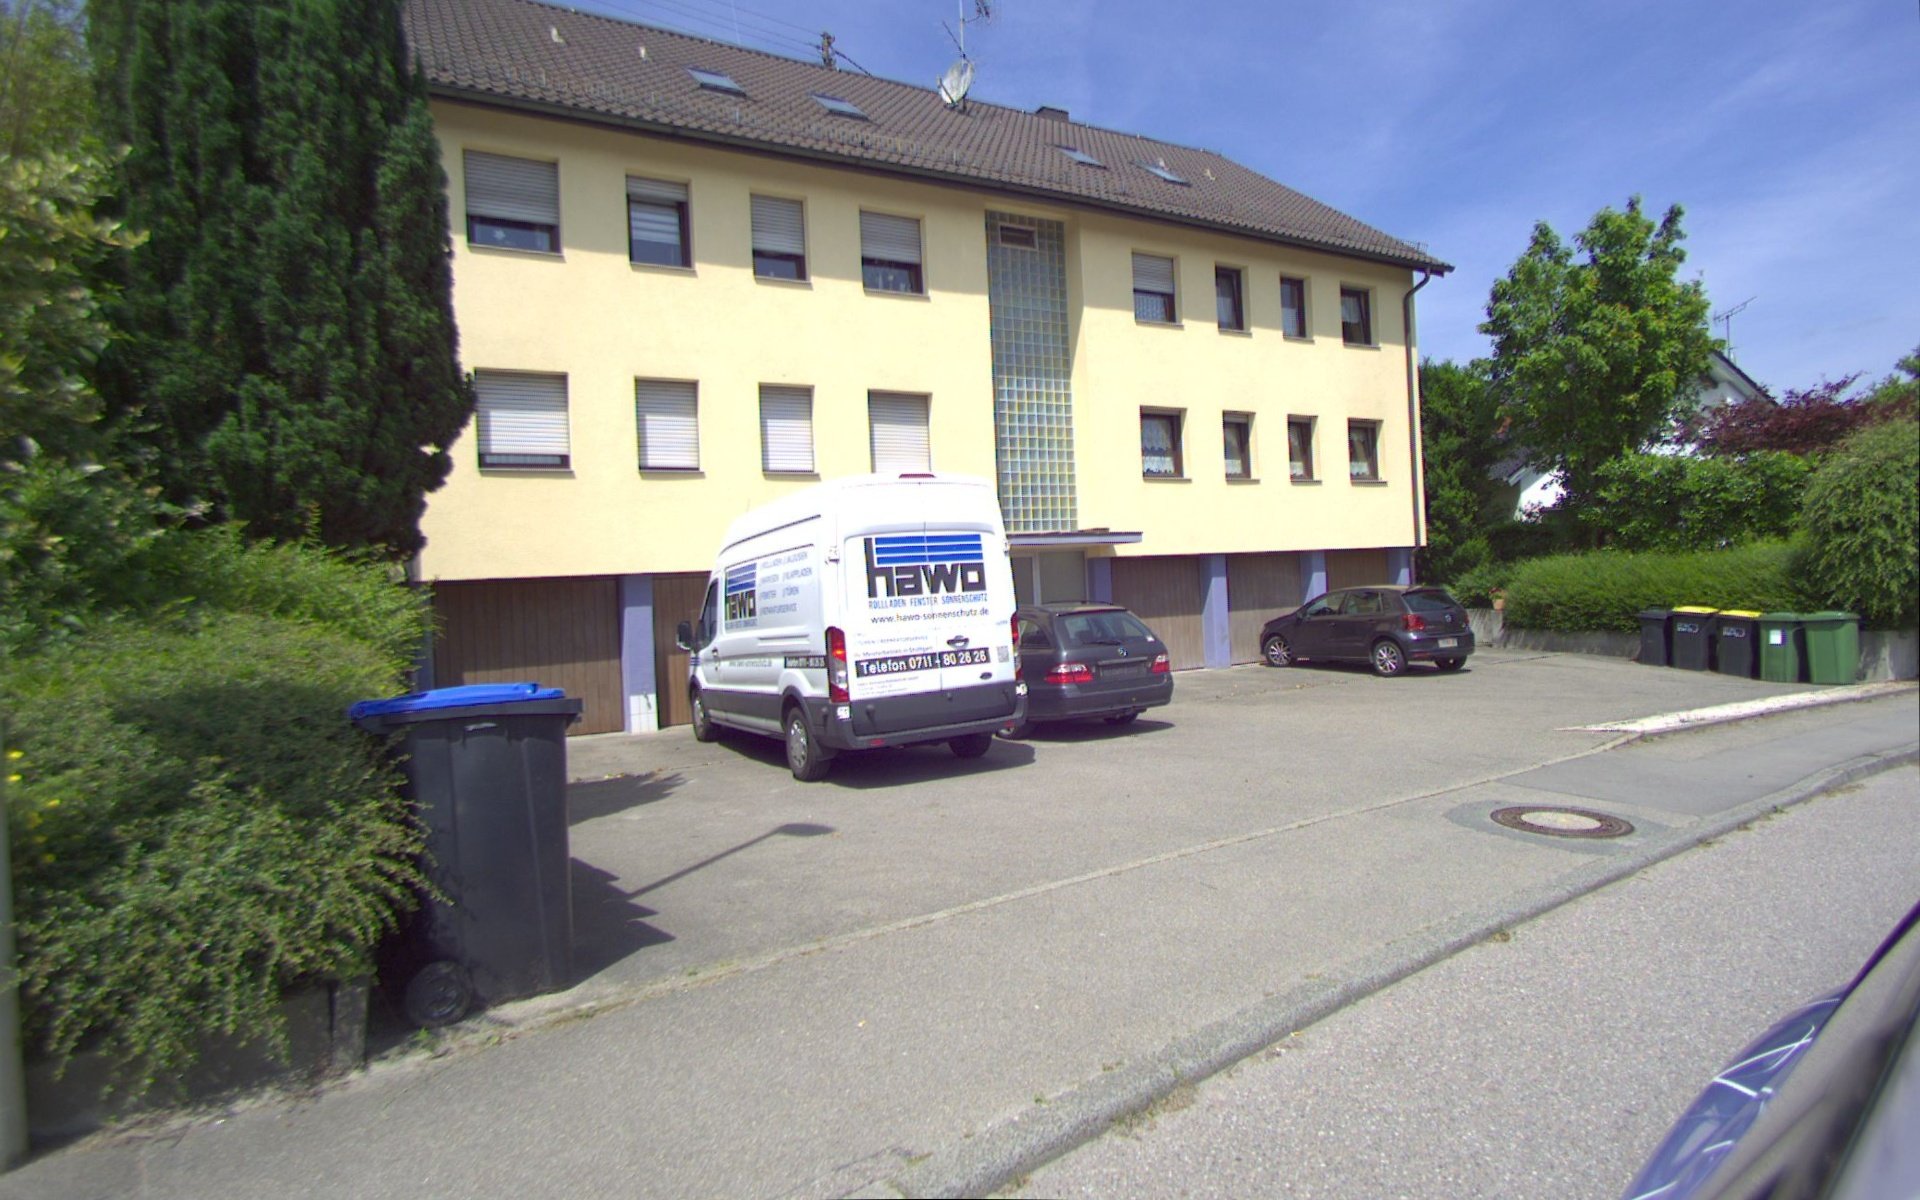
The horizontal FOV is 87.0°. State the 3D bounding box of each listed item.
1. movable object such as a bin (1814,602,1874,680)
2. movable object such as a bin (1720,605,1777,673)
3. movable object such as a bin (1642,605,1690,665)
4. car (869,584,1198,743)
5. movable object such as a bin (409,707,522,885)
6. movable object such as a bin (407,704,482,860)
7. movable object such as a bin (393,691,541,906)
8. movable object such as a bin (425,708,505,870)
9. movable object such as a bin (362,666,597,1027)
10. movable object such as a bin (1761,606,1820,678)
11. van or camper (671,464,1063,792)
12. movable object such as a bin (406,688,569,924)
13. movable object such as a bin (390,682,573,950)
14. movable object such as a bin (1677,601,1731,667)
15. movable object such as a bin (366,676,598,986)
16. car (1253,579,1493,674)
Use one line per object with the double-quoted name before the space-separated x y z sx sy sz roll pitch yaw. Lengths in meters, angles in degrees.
"movable object such as a bin" 13.106 0.600 15.008 0.553 1.121 0.486 0 -1 -29
"movable object such as a bin" 12.566 0.609 16.134 0.553 1.034 0.487 0 2 -24
"movable object such as a bin" 11.993 0.584 17.202 0.505 0.967 0.451 0 3 -27
"car" 0.681 0.666 12.972 1.871 1.582 4.719 -3 1 -29
"movable object such as a bin" -3.043 1.171 6.221 0.539 0.985 0.460 0 -5 -36
"movable object such as a bin" -3.582 1.240 7.025 0.401 0.985 0.400 0 -3 -36
"movable object such as a bin" -2.800 1.078 5.736 0.660 1.083 0.551 0 -5 -36
"movable object such as a bin" -3.265 1.220 6.669 0.401 0.985 0.400 0 -5 -36
"movable object such as a bin" -1.710 0.804 3.586 0.646 1.083 0.551 0 -6 -36
"movable object such as a bin" 12.785 0.639 15.585 0.553 1.084 0.486 0 -1 -24
"van or camper" -1.363 0.265 11.105 2.239 2.680 5.248 -3 -1 -29
"movable object such as a bin" -2.466 1.023 5.270 0.660 1.083 0.551 0 -5 -36
"movable object such as a bin" -2.229 0.952 4.698 0.660 1.083 0.551 0 -6 -36
"movable object such as a bin" 12.282 0.555 16.714 0.553 1.034 0.487 0 2 -24
"movable object such as a bin" -1.964 0.882 4.149 0.754 1.083 0.551 0 -6 -36
"car" 7.023 0.415 17.590 1.611 1.436 3.698 -2 0 -26
